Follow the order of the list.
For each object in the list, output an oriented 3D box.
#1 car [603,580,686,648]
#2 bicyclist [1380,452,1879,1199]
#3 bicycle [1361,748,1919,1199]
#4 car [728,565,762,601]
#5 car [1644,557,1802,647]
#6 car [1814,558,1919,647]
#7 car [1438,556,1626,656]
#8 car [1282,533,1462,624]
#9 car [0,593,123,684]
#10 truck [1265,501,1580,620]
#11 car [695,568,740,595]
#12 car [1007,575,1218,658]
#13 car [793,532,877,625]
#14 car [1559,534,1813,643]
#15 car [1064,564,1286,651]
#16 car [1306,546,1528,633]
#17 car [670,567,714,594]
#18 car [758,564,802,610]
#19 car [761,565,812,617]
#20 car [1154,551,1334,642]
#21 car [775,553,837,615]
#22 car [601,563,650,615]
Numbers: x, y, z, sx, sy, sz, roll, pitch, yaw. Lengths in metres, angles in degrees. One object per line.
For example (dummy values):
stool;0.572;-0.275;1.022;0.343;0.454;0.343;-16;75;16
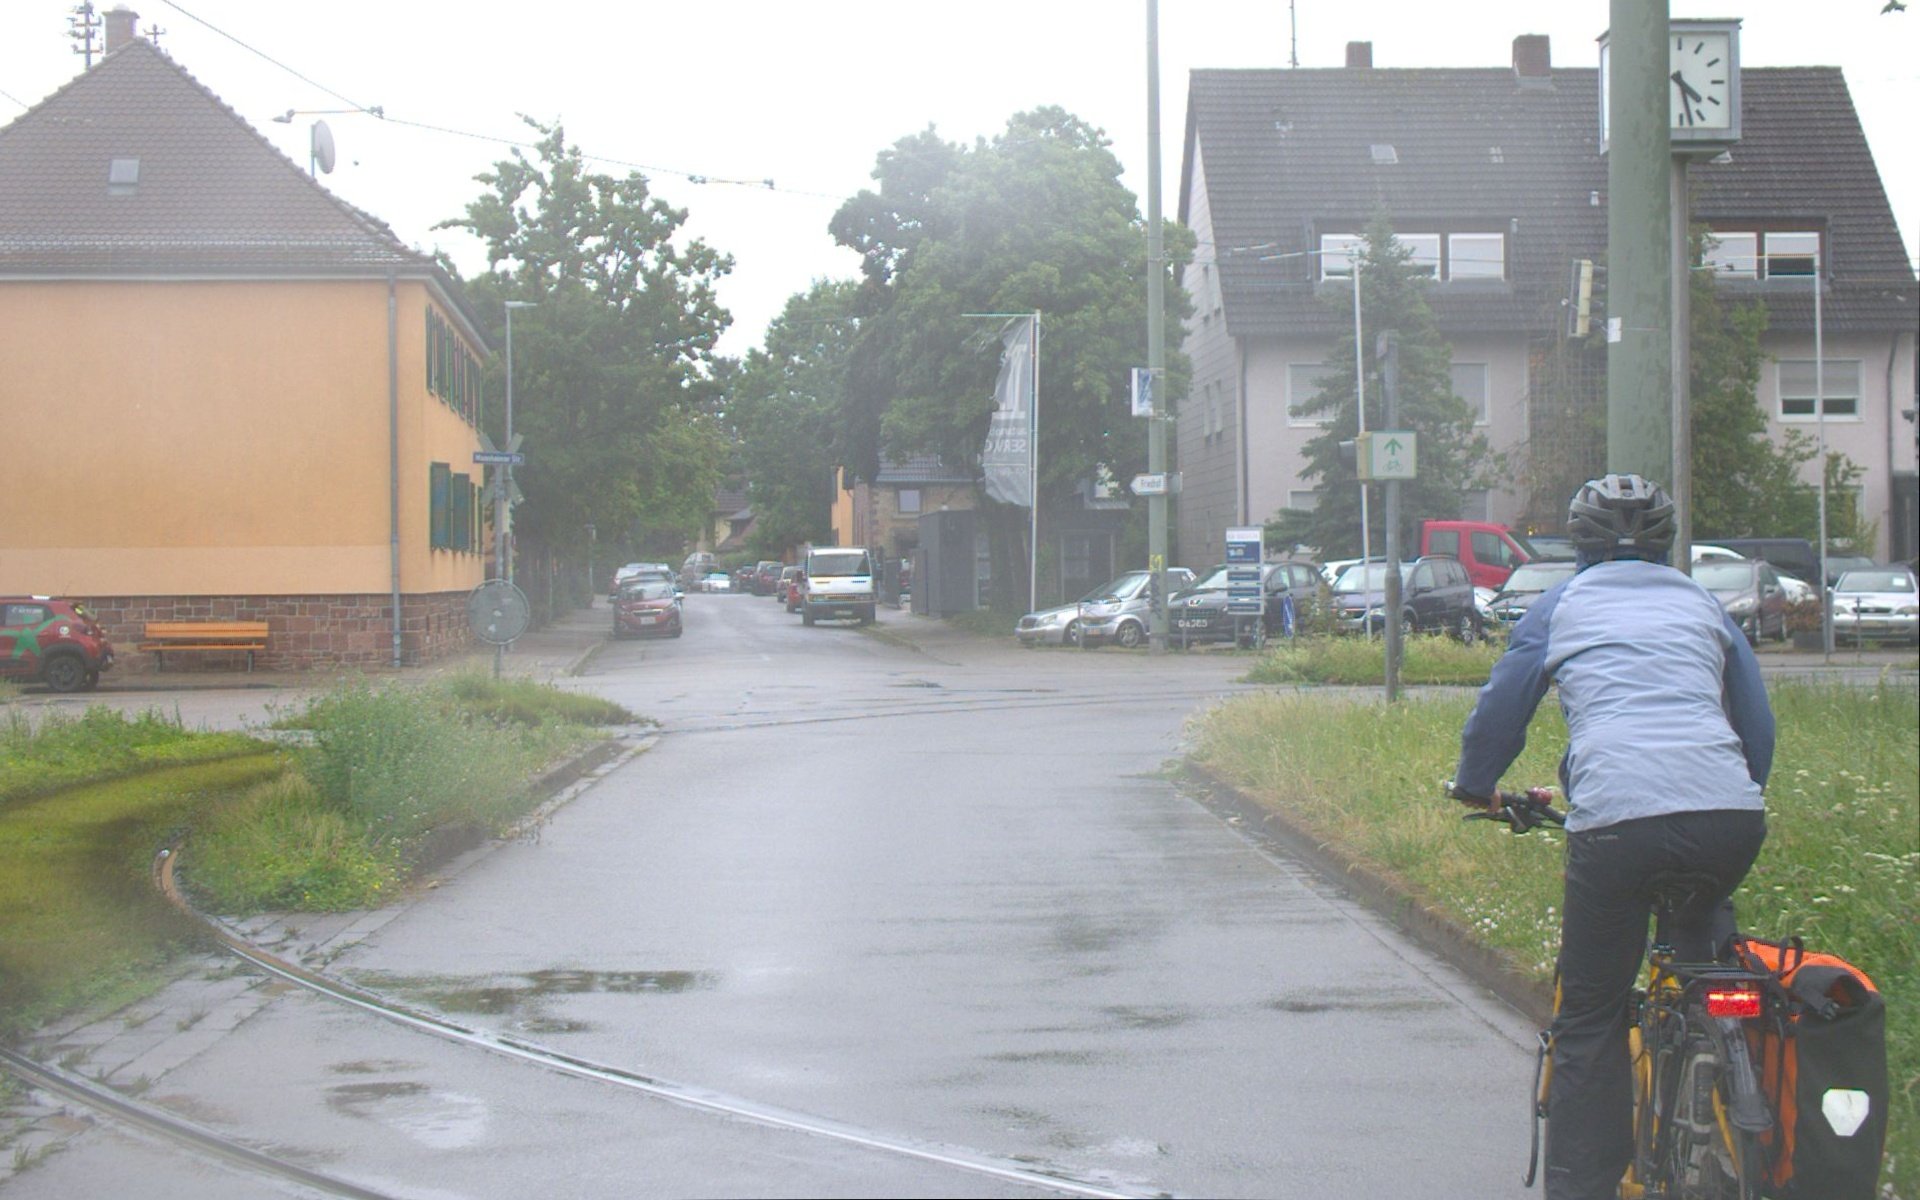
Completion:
car;-7.804;0.340;85.378;1.993;1.612;4.001;0;0;-5
bicyclist;1.257;0.481;6.605;0.751;1.480;0.846;-2;0;0
bicycle;1.280;0.877;6.592;0.752;1.069;1.927;-2;0;0
car;-12.571;-0.997;200.664;1.828;2.007;4.001;2;0;-5
car;13.658;0.041;61.373;1.830;1.499;4.052;2;0;26
car;16.299;0.043;61.469;1.828;1.499;4.056;2;0;12
car;10.241;0.093;61.334;1.997;1.711;3.993;-1;0;30
car;7.419;-0.401;61.683;1.805;1.573;3.865;-1;0;30
car;-14.977;0.566;53.345;3.604;1.334;1.723;2;0;-5
truck;9.419;-0.773;69.982;6.088;2.264;1.998;-1;-1;17
car;-15.453;-1.185;218.858;1.828;1.691;4.033;1;0;-19
car;3.096;0.325;69.834;3.858;1.573;1.808;-1;0;-22
car;-3.601;-0.613;98.366;2.153;2.564;4.134;2;0;-5
car;13.913;-0.209;66.037;4.432;2.007;2.000;-1;-1;0
car;4.152;0.142;66.533;3.858;1.573;1.808;-1;0;-22
car;8.884;-0.191;66.740;3.969;1.592;1.998;-1;-1;18
car;-17.481;-1.271;224.217;1.828;1.691;4.033;1;0;-19
car;-8.153;-0.607;155.454;1.828;2.007;4.001;2;0;-5
car;-6.913;-0.368;136.798;1.828;2.007;4.001;2;0;-5
car;5.262;-0.079;63.279;1.805;1.573;3.865;-1;0;30
car;-5.237;-0.548;116.813;1.993;2.007;4.000;2;0;-3
car;-13.312;-0.454;137.053;1.828;2.007;4.001;2;0;-5
